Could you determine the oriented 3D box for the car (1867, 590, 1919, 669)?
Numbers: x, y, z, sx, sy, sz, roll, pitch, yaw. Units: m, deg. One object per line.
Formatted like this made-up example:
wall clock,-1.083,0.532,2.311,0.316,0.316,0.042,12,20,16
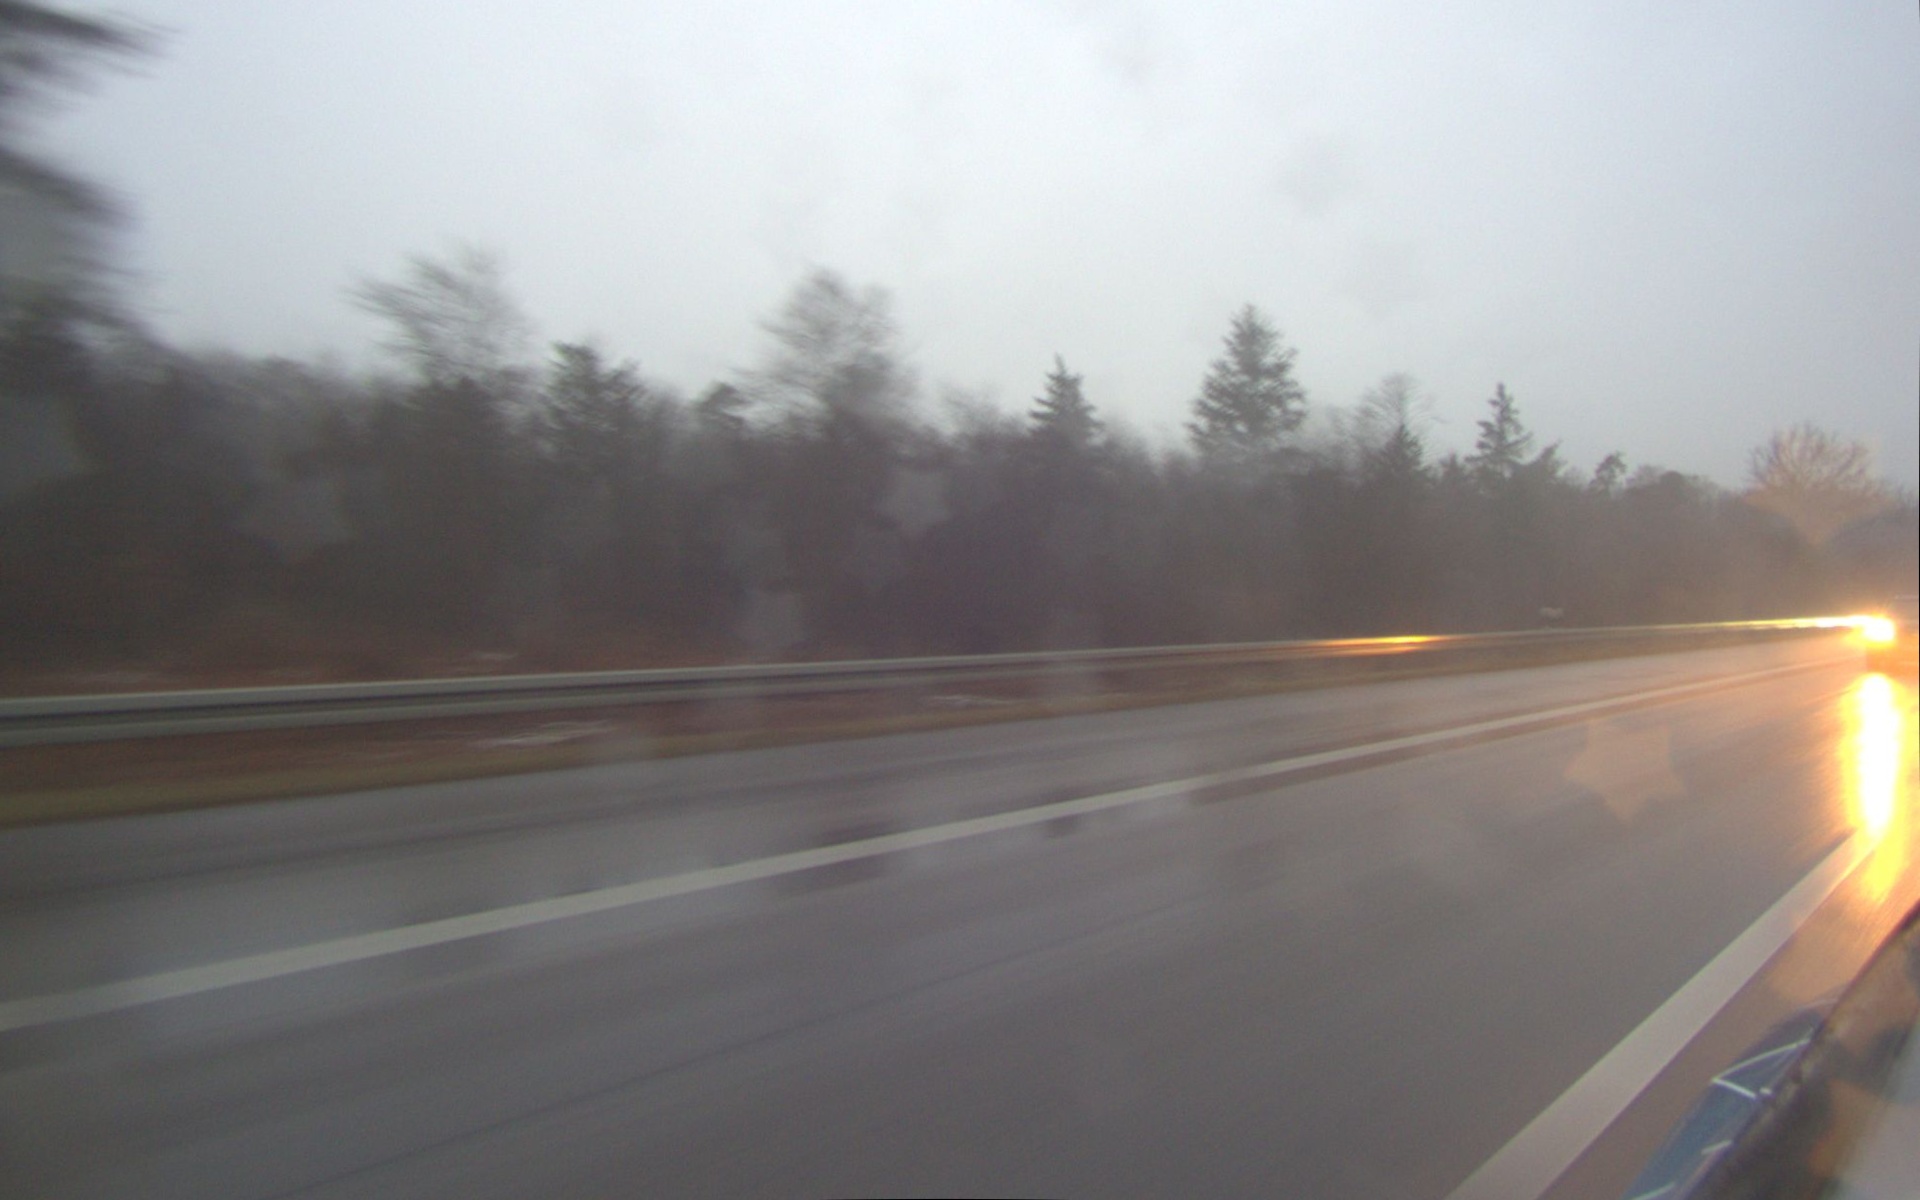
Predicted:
car,22.878,0.652,23.517,4.381,1.719,2.075,0,0,-40
